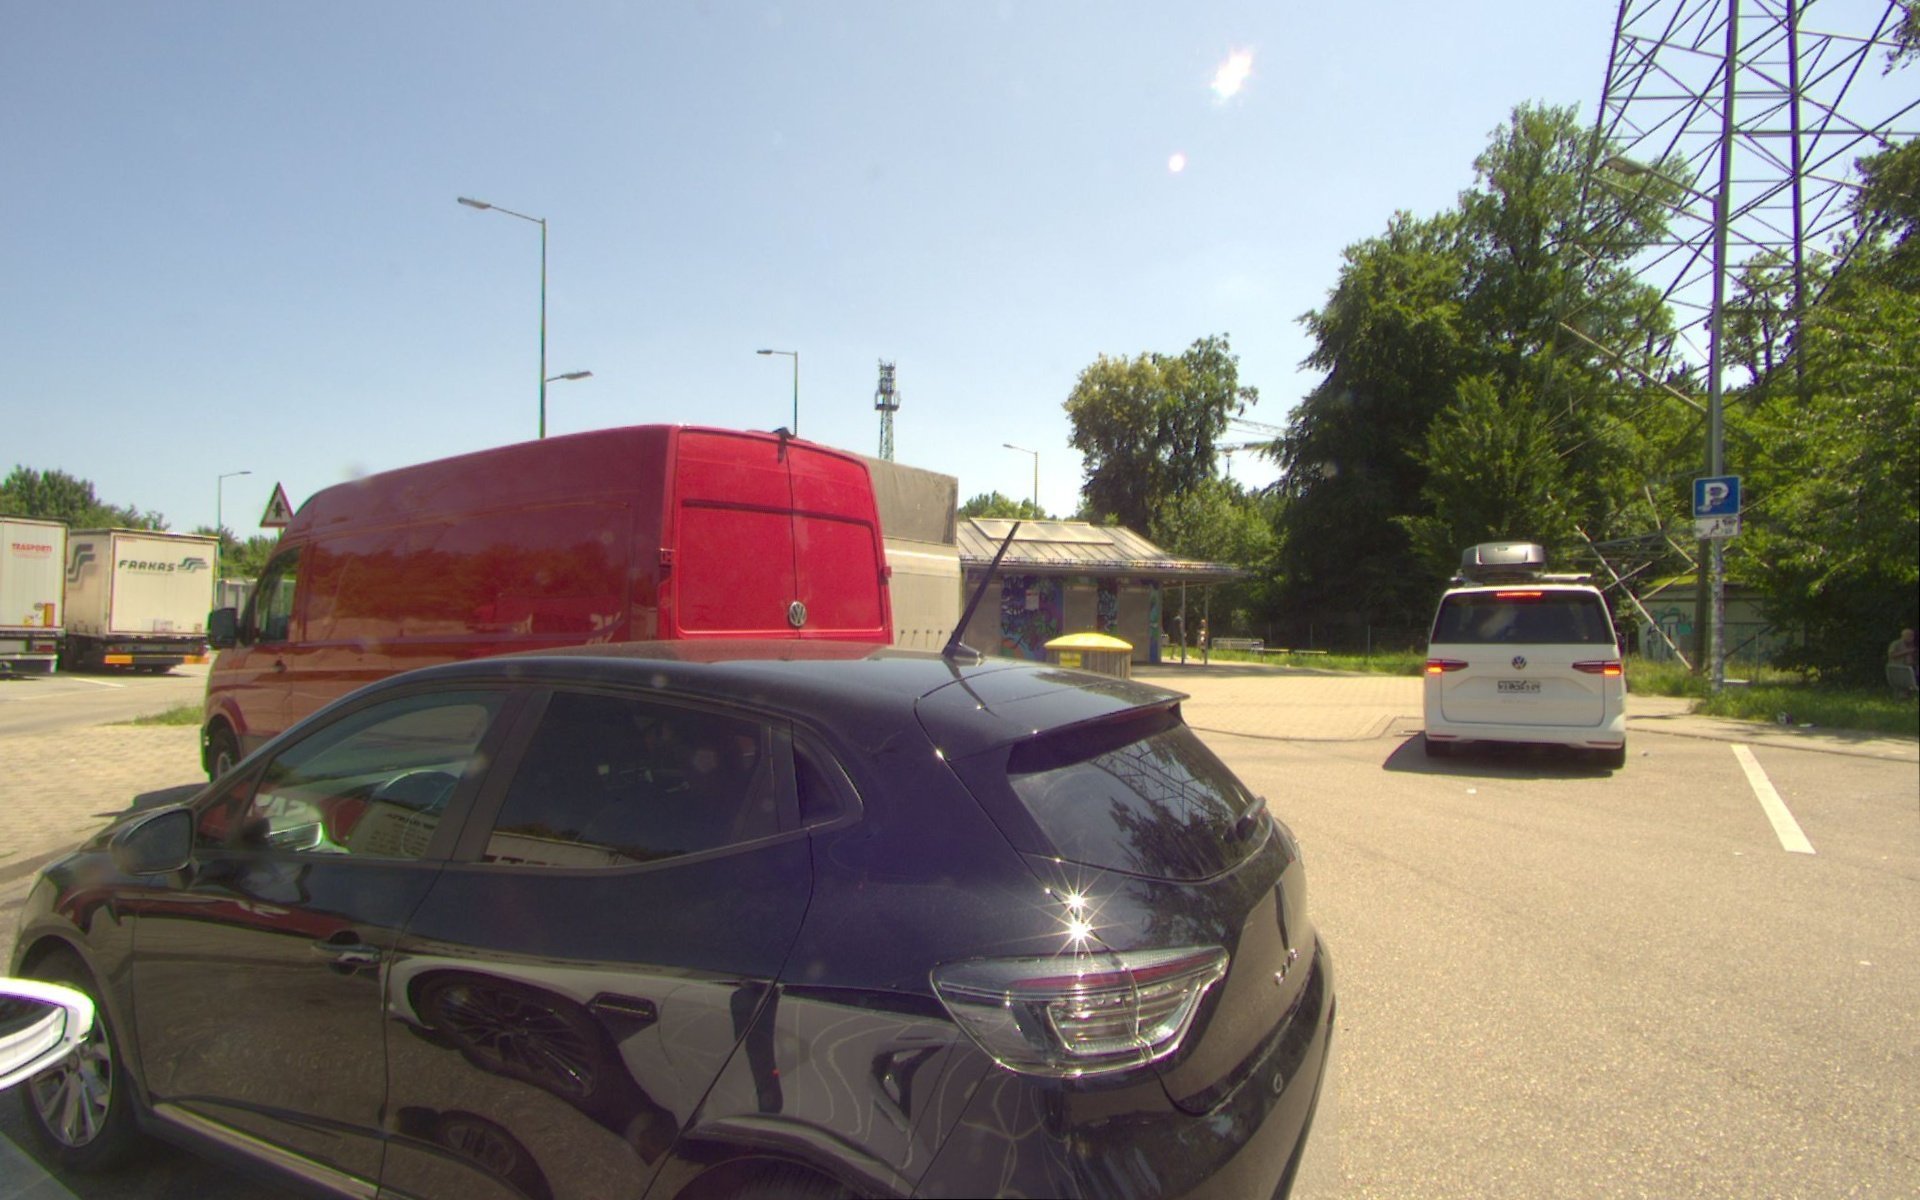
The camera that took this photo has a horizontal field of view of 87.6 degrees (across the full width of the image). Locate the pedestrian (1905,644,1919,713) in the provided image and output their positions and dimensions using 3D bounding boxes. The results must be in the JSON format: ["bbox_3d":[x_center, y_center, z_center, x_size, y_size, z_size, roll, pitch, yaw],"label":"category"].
[{"bbox_3d":[17.190,1.364,17.477,0.876,1.192,0.666,-1,-2,32],"label":"pedestrian"}]

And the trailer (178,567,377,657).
[{"bbox_3d":[-32.383,0.492,47.145,13.530,3.764,2.834,1,-2,34],"label":"trailer"}]

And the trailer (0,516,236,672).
[{"bbox_3d":[-27.658,-0.187,31.634,13.523,4.185,2.835,1,-2,33],"label":"trailer"}]

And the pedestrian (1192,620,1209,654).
[{"bbox_3d":[10.929,1.672,45.532,0.633,1.547,0.565,0,-1,-4],"label":"pedestrian"}]

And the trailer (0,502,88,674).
[{"bbox_3d":[-28.967,-0.367,28.153,13.523,4.185,2.835,1,-2,33],"label":"trailer"}]

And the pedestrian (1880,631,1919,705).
[{"bbox_3d":[18.608,1.327,19.674,0.660,1.422,0.647,-1,-1,33],"label":"pedestrian"}]

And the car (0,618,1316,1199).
[{"bbox_3d":[-1.063,0.836,2.908,3.757,1.501,1.736,0,-1,27],"label":"car"}]

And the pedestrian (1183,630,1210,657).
[{"bbox_3d":[8.411,1.558,35.674,0.763,0.960,0.646,0,-1,-6],"label":"pedestrian"}]

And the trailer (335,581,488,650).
[{"bbox_3d":[-36.045,0.928,65.438,13.530,4.101,2.834,1,-2,34],"label":"trailer"}]

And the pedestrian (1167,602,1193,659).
[{"bbox_3d":[8.018,1.122,36.565,0.763,2.067,0.646,0,-1,-6],"label":"pedestrian"}]

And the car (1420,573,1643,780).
[{"bbox_3d":[6.522,0.774,11.843,1.881,1.937,4.549,-1,-1,26],"label":"car"}]

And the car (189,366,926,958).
[{"bbox_3d":[-3.355,0.312,7.360,6.310,2.731,2.060,0,-1,37],"label":"car"}]

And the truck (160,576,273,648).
[{"bbox_3d":[-37.691,0.576,50.745,5.405,3.407,2.847,1,-2,34],"label":"truck"}]
